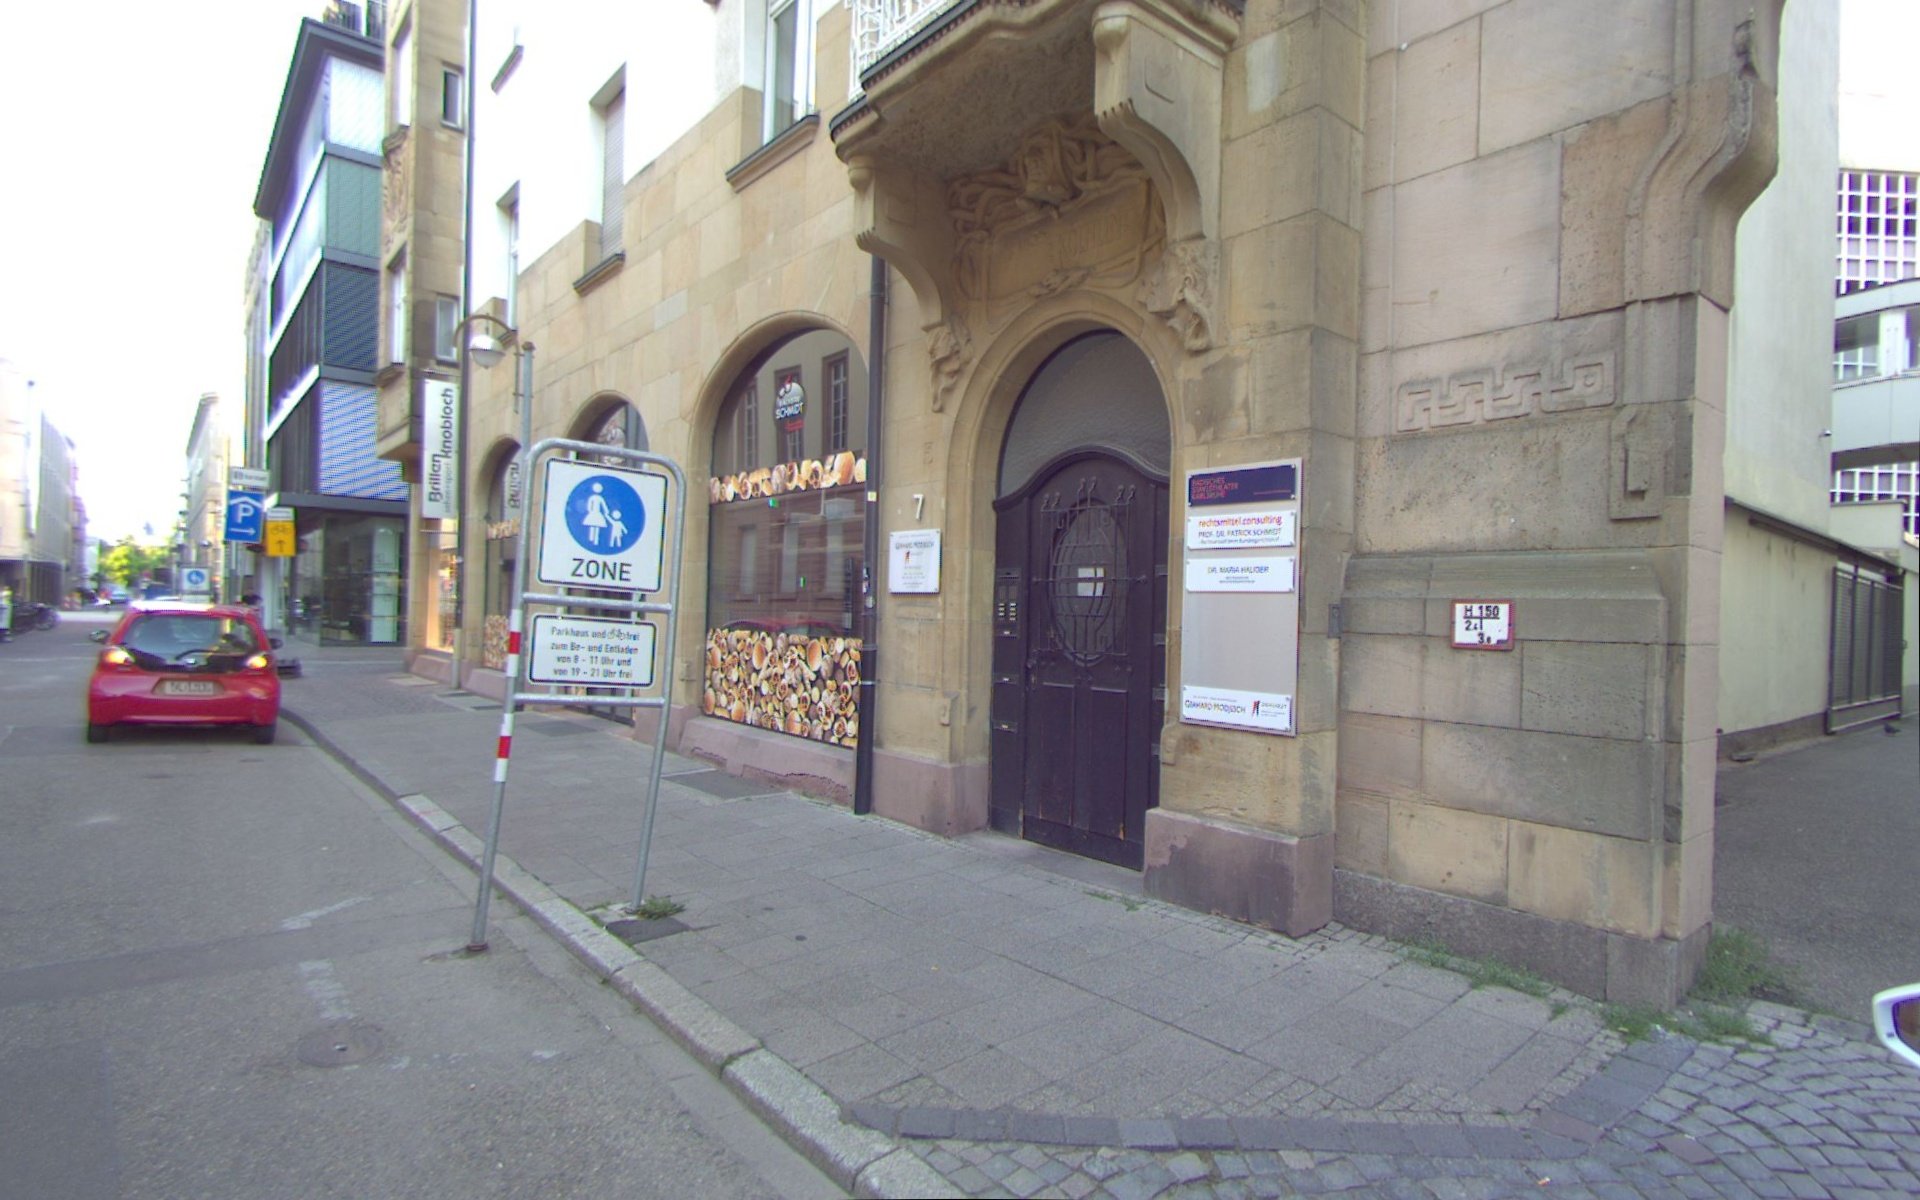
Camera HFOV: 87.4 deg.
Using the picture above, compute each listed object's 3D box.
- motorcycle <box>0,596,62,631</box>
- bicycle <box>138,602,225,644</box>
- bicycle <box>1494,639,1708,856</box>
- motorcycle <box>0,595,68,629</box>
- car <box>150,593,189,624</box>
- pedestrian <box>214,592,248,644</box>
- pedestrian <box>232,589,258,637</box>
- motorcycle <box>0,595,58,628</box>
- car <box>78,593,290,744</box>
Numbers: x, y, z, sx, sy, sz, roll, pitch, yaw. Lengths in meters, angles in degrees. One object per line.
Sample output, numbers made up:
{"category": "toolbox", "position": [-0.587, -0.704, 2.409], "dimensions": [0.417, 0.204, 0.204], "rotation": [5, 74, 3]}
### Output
{"category": "motorcycle", "position": [-36.959, 0.535, 39.640], "dimensions": [2.175, 1.299, 0.644], "rotation": [3, -1, -38]}
{"category": "bicycle", "position": [-22.142, 0.642, 28.608], "dimensions": [1.937, 1.145, 0.613], "rotation": [0, 0, -39]}
{"category": "bicycle", "position": [3.867, 0.794, 5.999], "dimensions": [1.742, 1.094, 0.590], "rotation": [1, 0, -41]}
{"category": "motorcycle", "position": [-37.460, 0.483, 40.456], "dimensions": [2.175, 1.299, 0.644], "rotation": [3, -1, -38]}
{"category": "car", "position": [-38.840, 0.390, 49.343], "dimensions": [1.415, 1.436, 3.850], "rotation": [0, 0, -40]}
{"category": "pedestrian", "position": [-24.298, 0.587, 33.491], "dimensions": [0.806, 1.693, 0.919], "rotation": [2, -1, -41]}
{"category": "pedestrian", "position": [-25.651, 0.475, 36.035], "dimensions": [0.665, 1.693, 0.755], "rotation": [2, -1, -38]}
{"category": "motorcycle", "position": [-38.831, 0.471, 41.530], "dimensions": [2.175, 1.299, 0.644], "rotation": [3, -1, -38]}
{"category": "car", "position": [-8.835, 0.717, 11.483], "dimensions": [1.625, 1.460, 3.121], "rotation": [5, -3, -38]}
